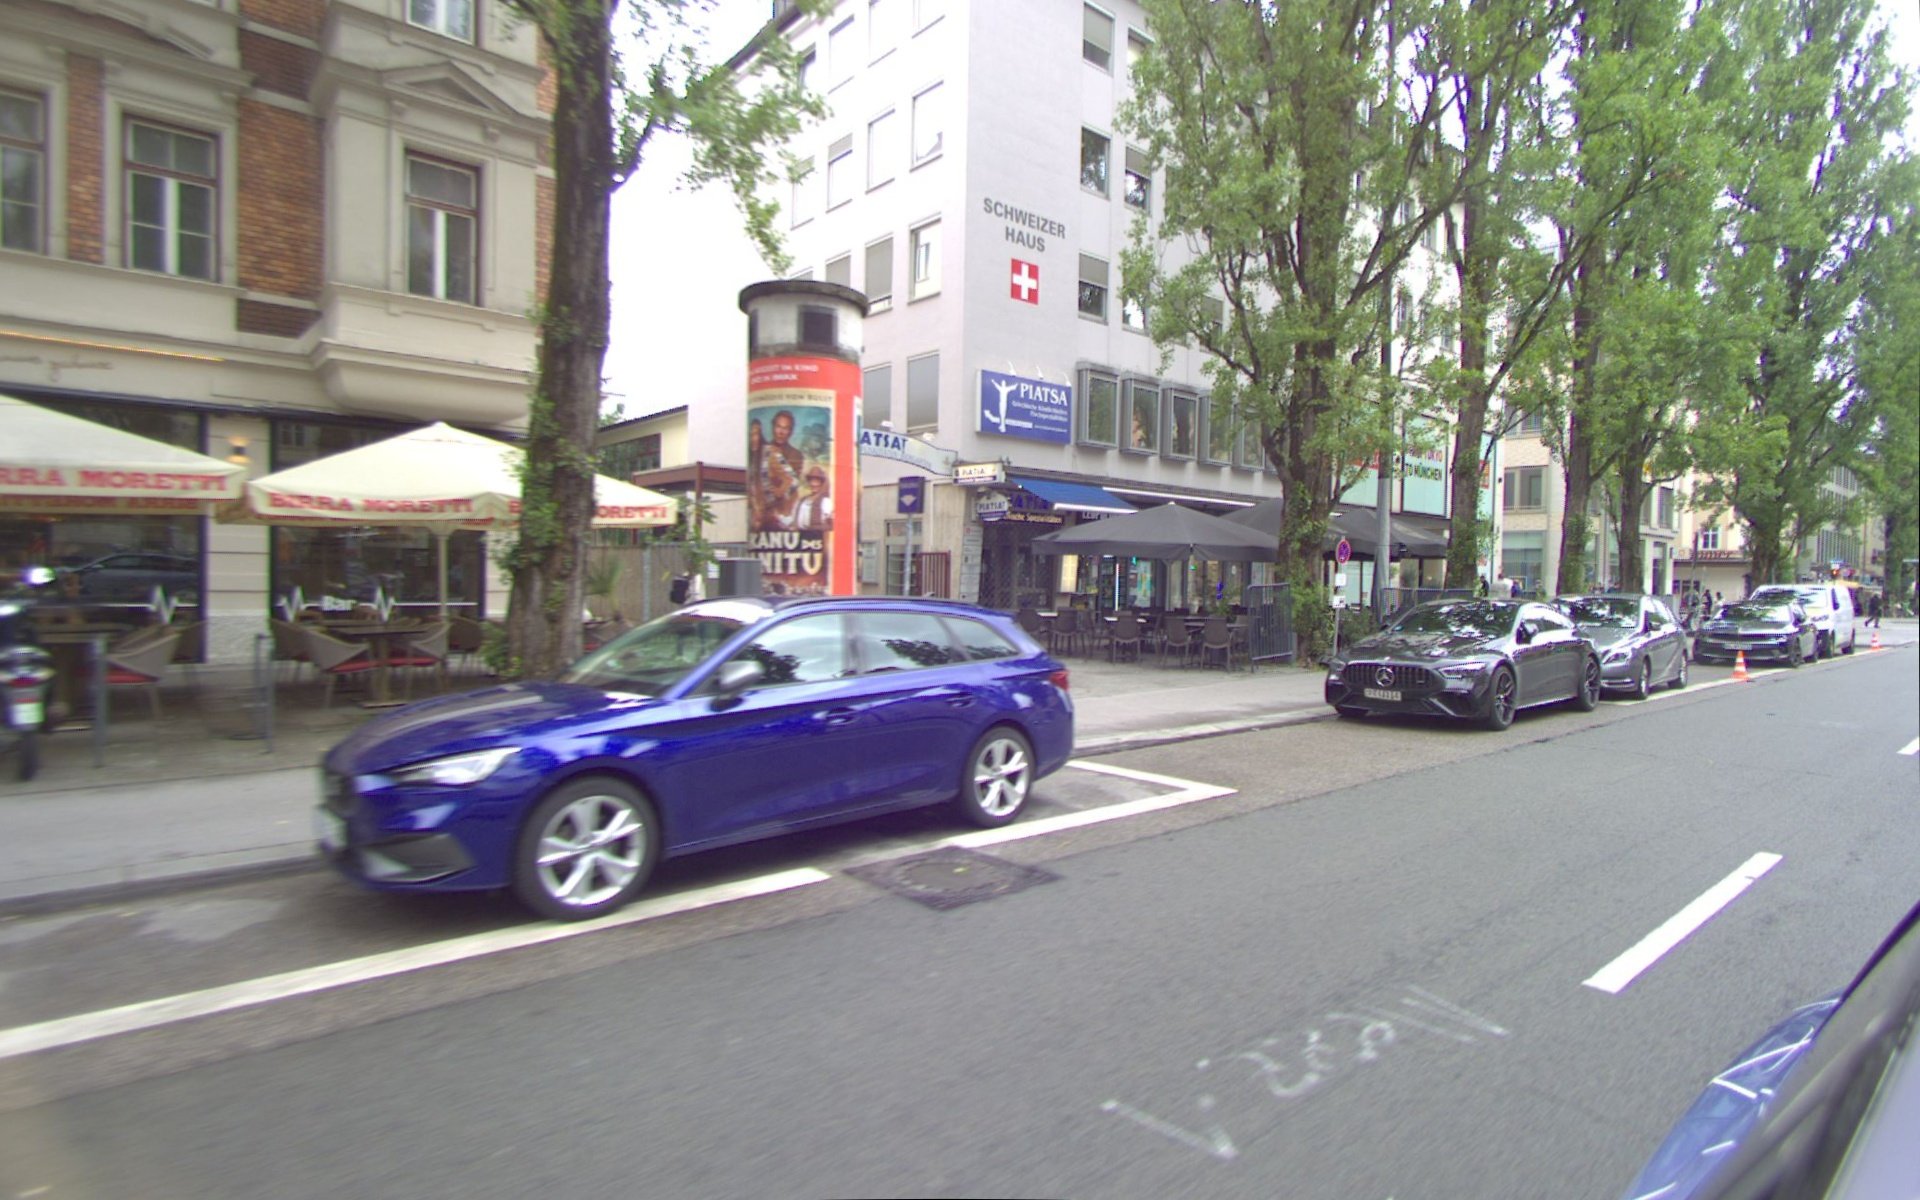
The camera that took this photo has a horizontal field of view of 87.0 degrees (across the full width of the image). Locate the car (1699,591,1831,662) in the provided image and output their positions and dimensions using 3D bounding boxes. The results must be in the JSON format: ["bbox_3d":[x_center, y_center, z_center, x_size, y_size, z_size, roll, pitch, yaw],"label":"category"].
[{"bbox_3d":[18.214,0.531,22.824,4.280,1.460,1.721,0,0,-43],"label":"car"}]

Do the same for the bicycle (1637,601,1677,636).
[{"bbox_3d":[21.125,0.553,30.681,1.697,1.051,0.366,0,1,-33],"label":"bicycle"}]

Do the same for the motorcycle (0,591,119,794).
[{"bbox_3d":[-6.378,0.560,6.994,1.830,1.194,0.685,2,2,44],"label":"motorcycle"}]

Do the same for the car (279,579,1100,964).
[{"bbox_3d":[-1.250,0.621,5.972,4.389,1.422,1.752,-1,2,-43],"label":"car"}]

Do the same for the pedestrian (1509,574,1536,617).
[{"bbox_3d":[22.419,-0.194,40.334,0.946,1.683,0.653,0,1,-40],"label":"pedestrian"}]

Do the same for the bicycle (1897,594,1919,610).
[{"bbox_3d":[65.646,0.127,70.097,1.774,1.084,0.406,-1,-4,-25],"label":"bicycle"}]

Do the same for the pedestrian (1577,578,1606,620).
[{"bbox_3d":[26.445,-0.045,42.371,0.945,1.739,0.752,0,1,-39],"label":"pedestrian"}]

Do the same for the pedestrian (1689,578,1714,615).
[{"bbox_3d":[36.993,-0.185,50.505,0.875,1.840,0.819,0,1,-42],"label":"pedestrian"}]

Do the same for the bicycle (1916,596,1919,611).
[{"bbox_3d":[67.886,0.266,71.376,1.740,1.061,0.509,0,2,-43],"label":"bicycle"}]

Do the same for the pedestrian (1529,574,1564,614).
[{"bbox_3d":[25.058,-0.267,43.233,0.808,1.694,0.989,1,1,-16],"label":"pedestrian"}]

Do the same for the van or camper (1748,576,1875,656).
[{"bbox_3d":[22.579,0.356,26.757,4.818,1.906,1.872,0,1,-41],"label":"van or camper"}]

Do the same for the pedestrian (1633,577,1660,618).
[{"bbox_3d":[31.166,-0.117,45.957,0.875,1.840,0.819,0,1,-42],"label":"pedestrian"}]

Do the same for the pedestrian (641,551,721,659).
[{"bbox_3d":[-4.359,0.062,15.827,0.973,1.629,0.730,0,1,-40],"label":"pedestrian"}]

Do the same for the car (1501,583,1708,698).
[{"bbox_3d":[10.168,0.526,15.850,4.163,1.525,1.818,-1,2,-44],"label":"car"}]

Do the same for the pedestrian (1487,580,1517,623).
[{"bbox_3d":[22.129,0.056,41.309,0.946,1.739,0.751,0,1,-40],"label":"pedestrian"}]

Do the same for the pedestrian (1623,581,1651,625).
[{"bbox_3d":[28.357,0.104,42.404,0.844,1.779,0.752,-2,3,-39],"label":"pedestrian"}]

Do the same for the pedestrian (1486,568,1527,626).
[{"bbox_3d":[17.729,-0.108,32.825,1.080,1.864,0.828,0,1,-41],"label":"pedestrian"}]

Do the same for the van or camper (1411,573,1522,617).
[{"bbox_3d":[22.792,-0.225,45.677,1.863,1.890,4.116,-1,1,-36],"label":"van or camper"}]

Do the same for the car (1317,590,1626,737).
[{"bbox_3d":[6.536,0.629,12.666,4.722,1.450,1.881,0,2,-42],"label":"car"}]

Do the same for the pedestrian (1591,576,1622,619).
[{"bbox_3d":[26.276,-0.121,41.125,0.945,1.698,0.752,0,1,-39],"label":"pedestrian"}]

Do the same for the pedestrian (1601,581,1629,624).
[{"bbox_3d":[27.868,0.098,43.037,0.844,1.779,0.752,-2,3,-39],"label":"pedestrian"}]

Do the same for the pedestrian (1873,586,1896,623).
[{"bbox_3d":[45.538,0.202,49.865,0.739,1.780,0.710,0,1,-39],"label":"pedestrian"}]
